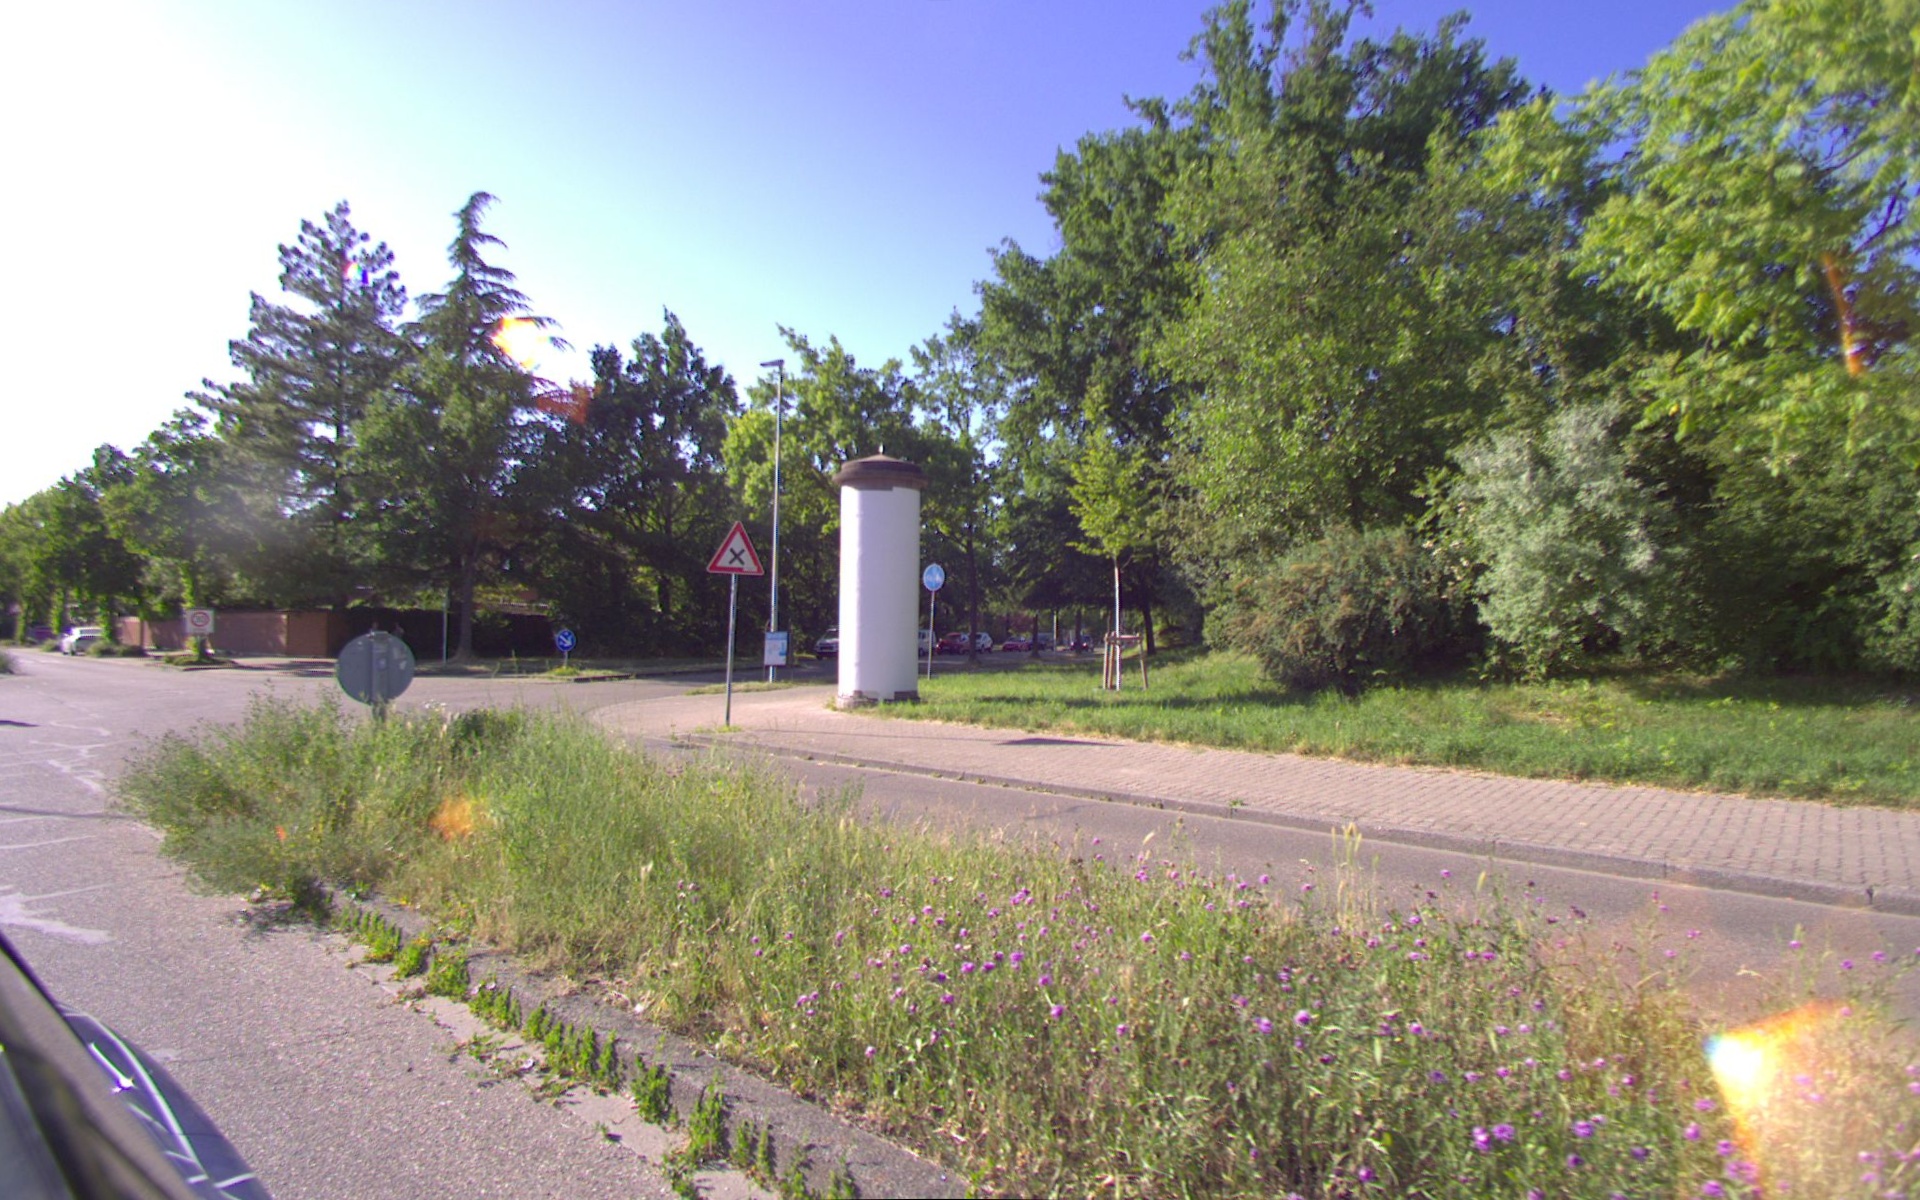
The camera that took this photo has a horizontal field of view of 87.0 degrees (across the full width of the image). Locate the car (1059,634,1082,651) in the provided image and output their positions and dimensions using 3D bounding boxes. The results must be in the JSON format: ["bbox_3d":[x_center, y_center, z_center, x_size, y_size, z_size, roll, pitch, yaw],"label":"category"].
[{"bbox_3d":[11.358,4.361,104.077,1.440,1.666,3.694,-1,-2,21],"label":"car"}]

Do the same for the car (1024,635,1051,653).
[{"bbox_3d":[7.359,4.124,95.662,1.490,1.666,4.063,-1,-2,21],"label":"car"}]

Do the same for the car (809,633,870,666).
[{"bbox_3d":[-6.678,2.740,56.618,1.739,1.762,4.610,-1,-2,16],"label":"car"}]

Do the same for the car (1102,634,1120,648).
[{"bbox_3d":[18.951,5.118,126.723,1.412,1.666,3.882,-1,-2,21],"label":"car"}]

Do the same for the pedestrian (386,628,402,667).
[{"bbox_3d":[-23.080,1.918,41.294,0.539,1.573,0.390,-1,-2,45],"label":"pedestrian"}]

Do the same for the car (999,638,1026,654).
[{"bbox_3d":[4.688,4.067,89.828,1.490,1.369,3.442,-1,-2,21],"label":"car"}]

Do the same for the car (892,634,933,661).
[{"bbox_3d":[-3.105,3.125,66.965,1.489,1.768,3.778,-1,-2,18],"label":"car"}]

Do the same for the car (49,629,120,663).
[{"bbox_3d":[-45.364,2.339,52.423,3.993,1.671,1.975,-1,-2,37],"label":"car"}]

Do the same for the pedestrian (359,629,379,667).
[{"bbox_3d":[-23.922,1.924,40.956,0.393,1.532,0.535,0,-2,18],"label":"pedestrian"}]

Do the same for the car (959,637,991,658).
[{"bbox_3d":[1.224,3.706,79.479,1.489,1.651,3.730,-1,-2,18],"label":"car"}]

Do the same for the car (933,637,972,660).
[{"bbox_3d":[-0.543,3.520,73.968,1.759,1.651,3.730,-1,-2,18],"label":"car"}]

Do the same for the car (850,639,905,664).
[{"bbox_3d":[-5.005,3.126,62.198,1.710,1.455,4.585,-2,-3,18],"label":"car"}]

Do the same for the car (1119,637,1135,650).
[{"bbox_3d":[23.058,5.985,139.408,1.412,1.666,3.882,-1,-2,21],"label":"car"}]
